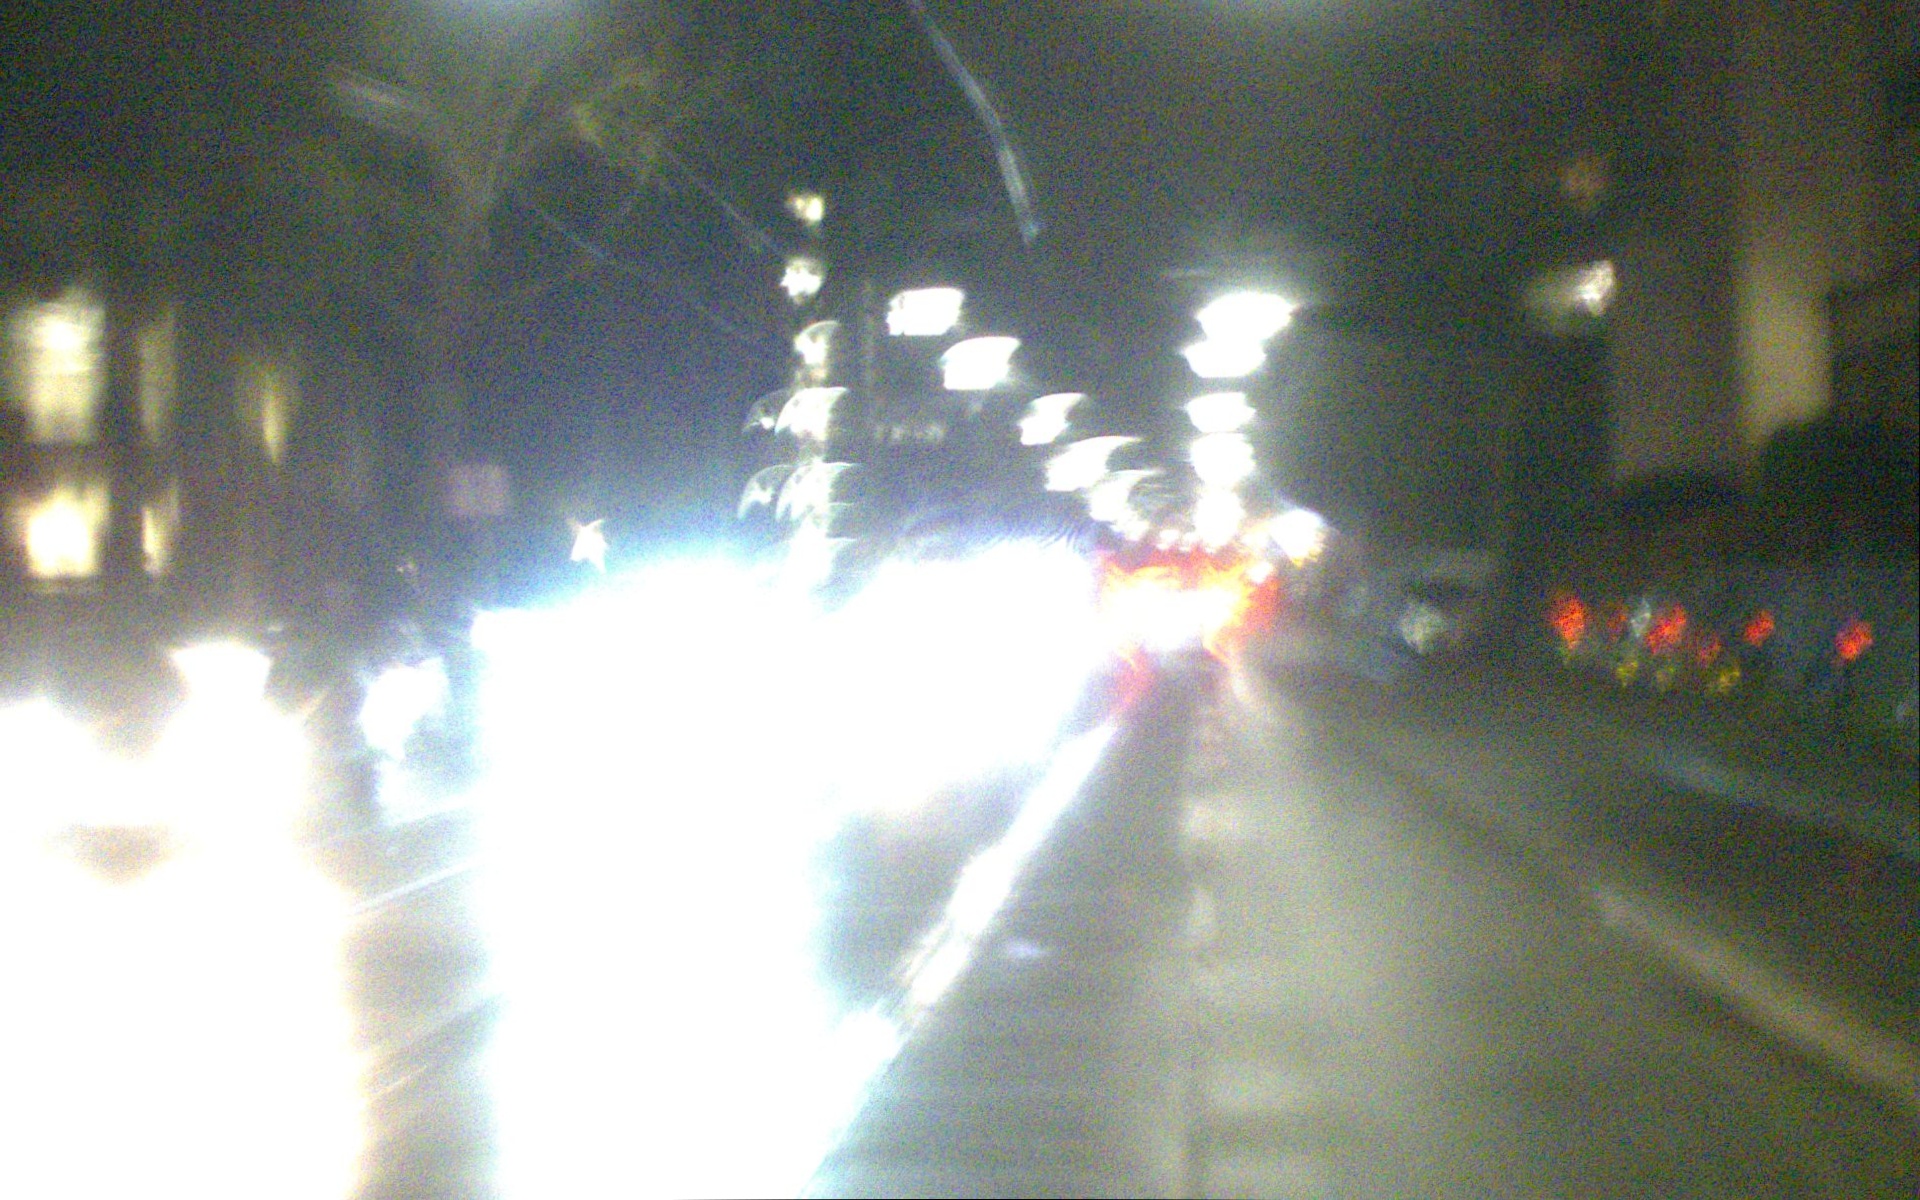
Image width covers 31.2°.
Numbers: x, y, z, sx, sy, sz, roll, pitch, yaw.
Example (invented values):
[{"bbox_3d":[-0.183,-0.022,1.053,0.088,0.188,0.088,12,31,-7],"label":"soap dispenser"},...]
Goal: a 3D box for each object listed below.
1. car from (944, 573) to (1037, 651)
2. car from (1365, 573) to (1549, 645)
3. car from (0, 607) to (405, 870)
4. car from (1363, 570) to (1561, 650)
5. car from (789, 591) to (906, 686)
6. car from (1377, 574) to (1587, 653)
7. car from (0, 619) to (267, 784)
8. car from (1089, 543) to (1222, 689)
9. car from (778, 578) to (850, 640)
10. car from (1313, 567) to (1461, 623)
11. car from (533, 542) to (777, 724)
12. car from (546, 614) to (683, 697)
[{"bbox_3d":[0.810,0.287,87.270,1.939,1.809,4.384,-3,0,5],"label":"car"},{"bbox_3d":[10.226,0.178,70.573,3.824,1.433,1.599,0,0,-40],"label":"car"},{"bbox_3d":[-4.962,0.828,22.307,1.792,1.459,3.901,-2,1,4],"label":"car"},{"bbox_3d":[9.848,0.190,67.291,3.845,1.483,1.806,-1,0,-43],"label":"car"},{"bbox_3d":[-1.908,0.640,59.466,1.651,1.474,4.205,-3,0,2],"label":"car"},{"bbox_3d":[9.791,0.249,64.396,3.779,1.453,1.770,0,0,-38],"label":"car"},{"bbox_3d":[-7.940,0.911,32.505,1.766,1.402,4.141,1,0,2],"label":"car"},{"bbox_3d":[3.399,0.262,60.628,2.217,2.433,5.384,-1,0,2],"label":"car"},{"bbox_3d":[-3.829,0.226,90.464,1.641,1.502,3.619,0,2,2],"label":"car"},{"bbox_3d":[11.734,-0.149,94.387,3.877,1.528,1.821,0,0,-37],"label":"car"},{"bbox_3d":[-3.425,0.325,39.460,1.926,1.873,4.636,-3,1,5],"label":"car"},{"bbox_3d":[-6.021,0.957,60.296,1.668,1.382,4.000,1,-1,5],"label":"car"}]
